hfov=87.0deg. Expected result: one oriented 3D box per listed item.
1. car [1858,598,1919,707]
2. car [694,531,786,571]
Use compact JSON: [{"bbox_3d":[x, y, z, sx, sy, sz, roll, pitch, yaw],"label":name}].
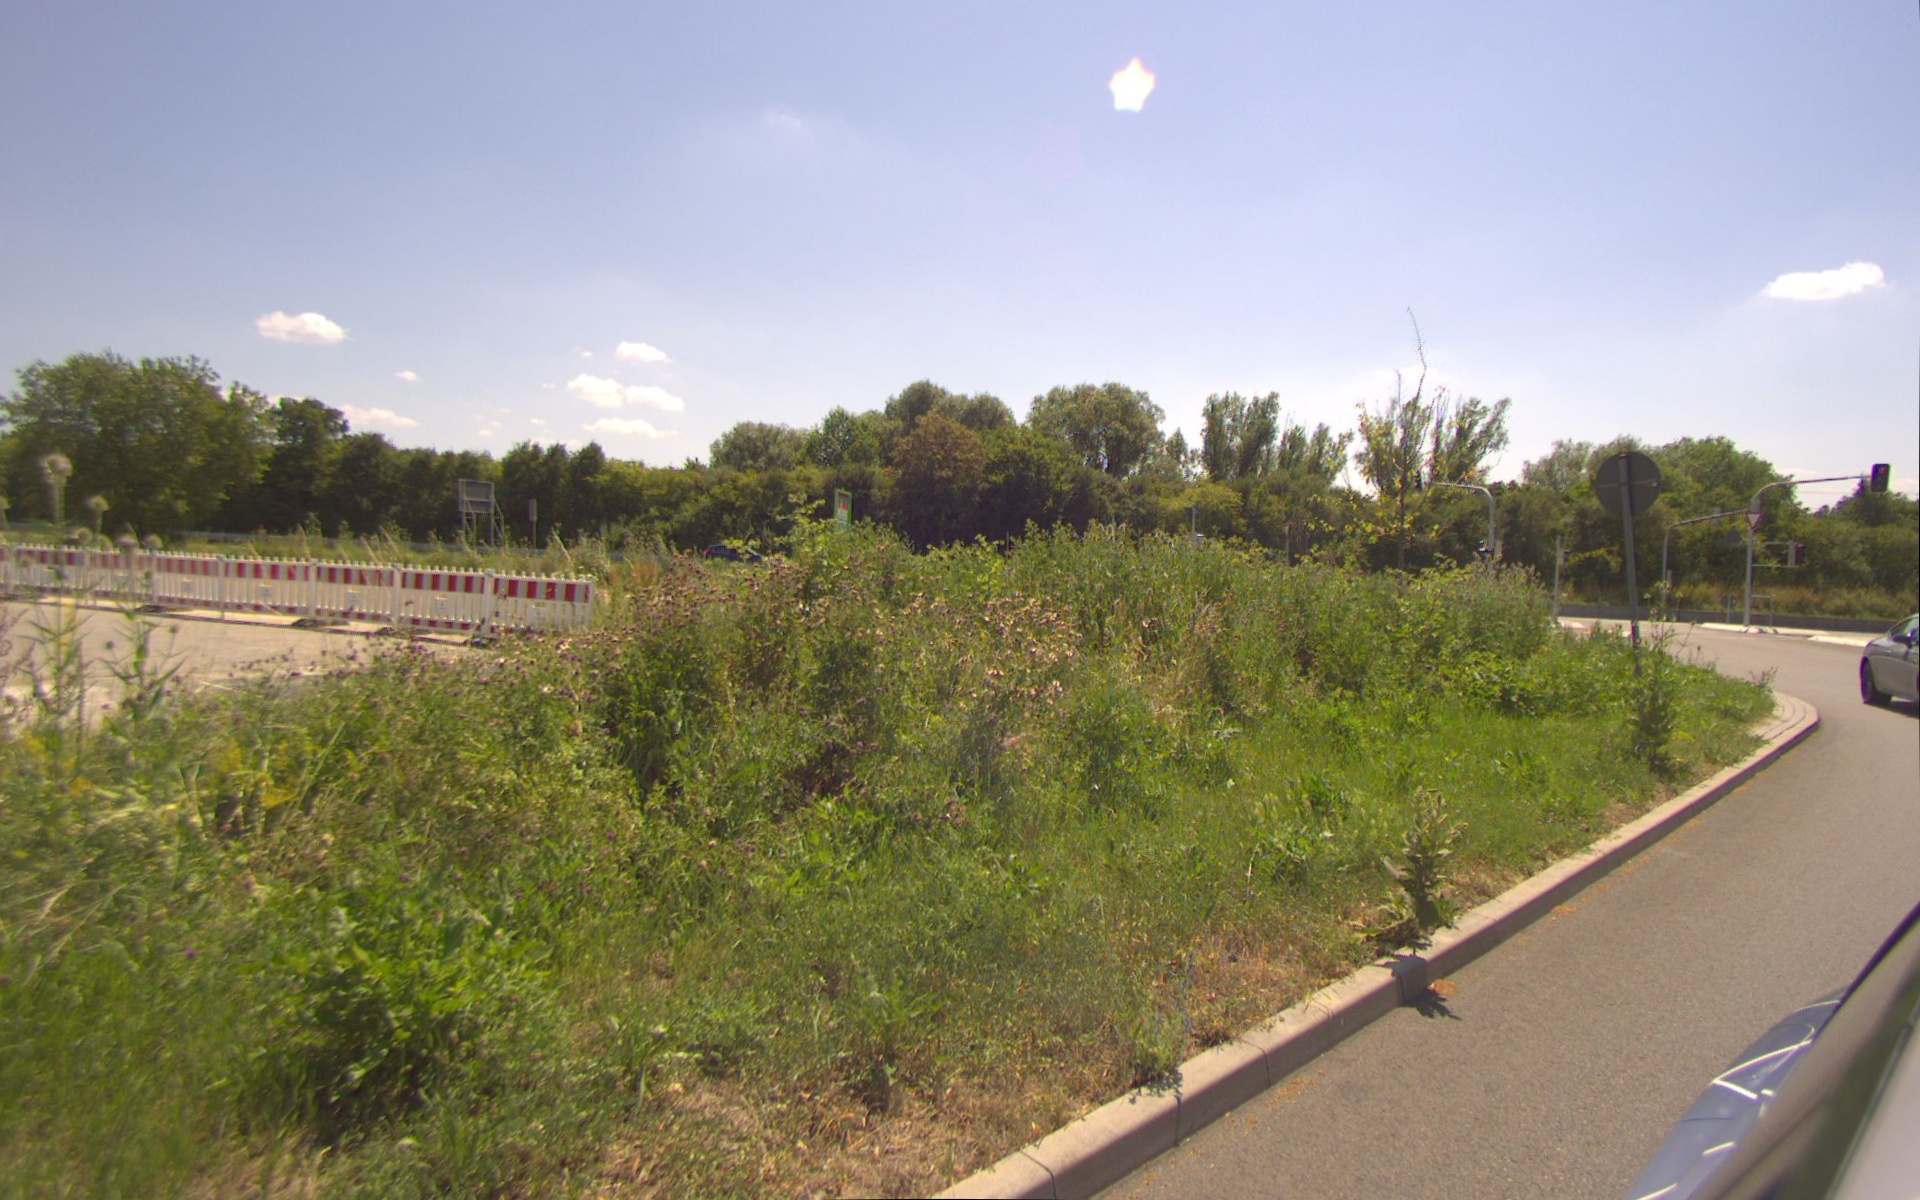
[{"bbox_3d":[14.138,0.710,13.819,1.906,1.460,4.435,0,0,30],"label":"car"},{"bbox_3d":[-10.633,-2.350,49.100,3.930,1.660,1.780,4,2,5],"label":"car"}]
